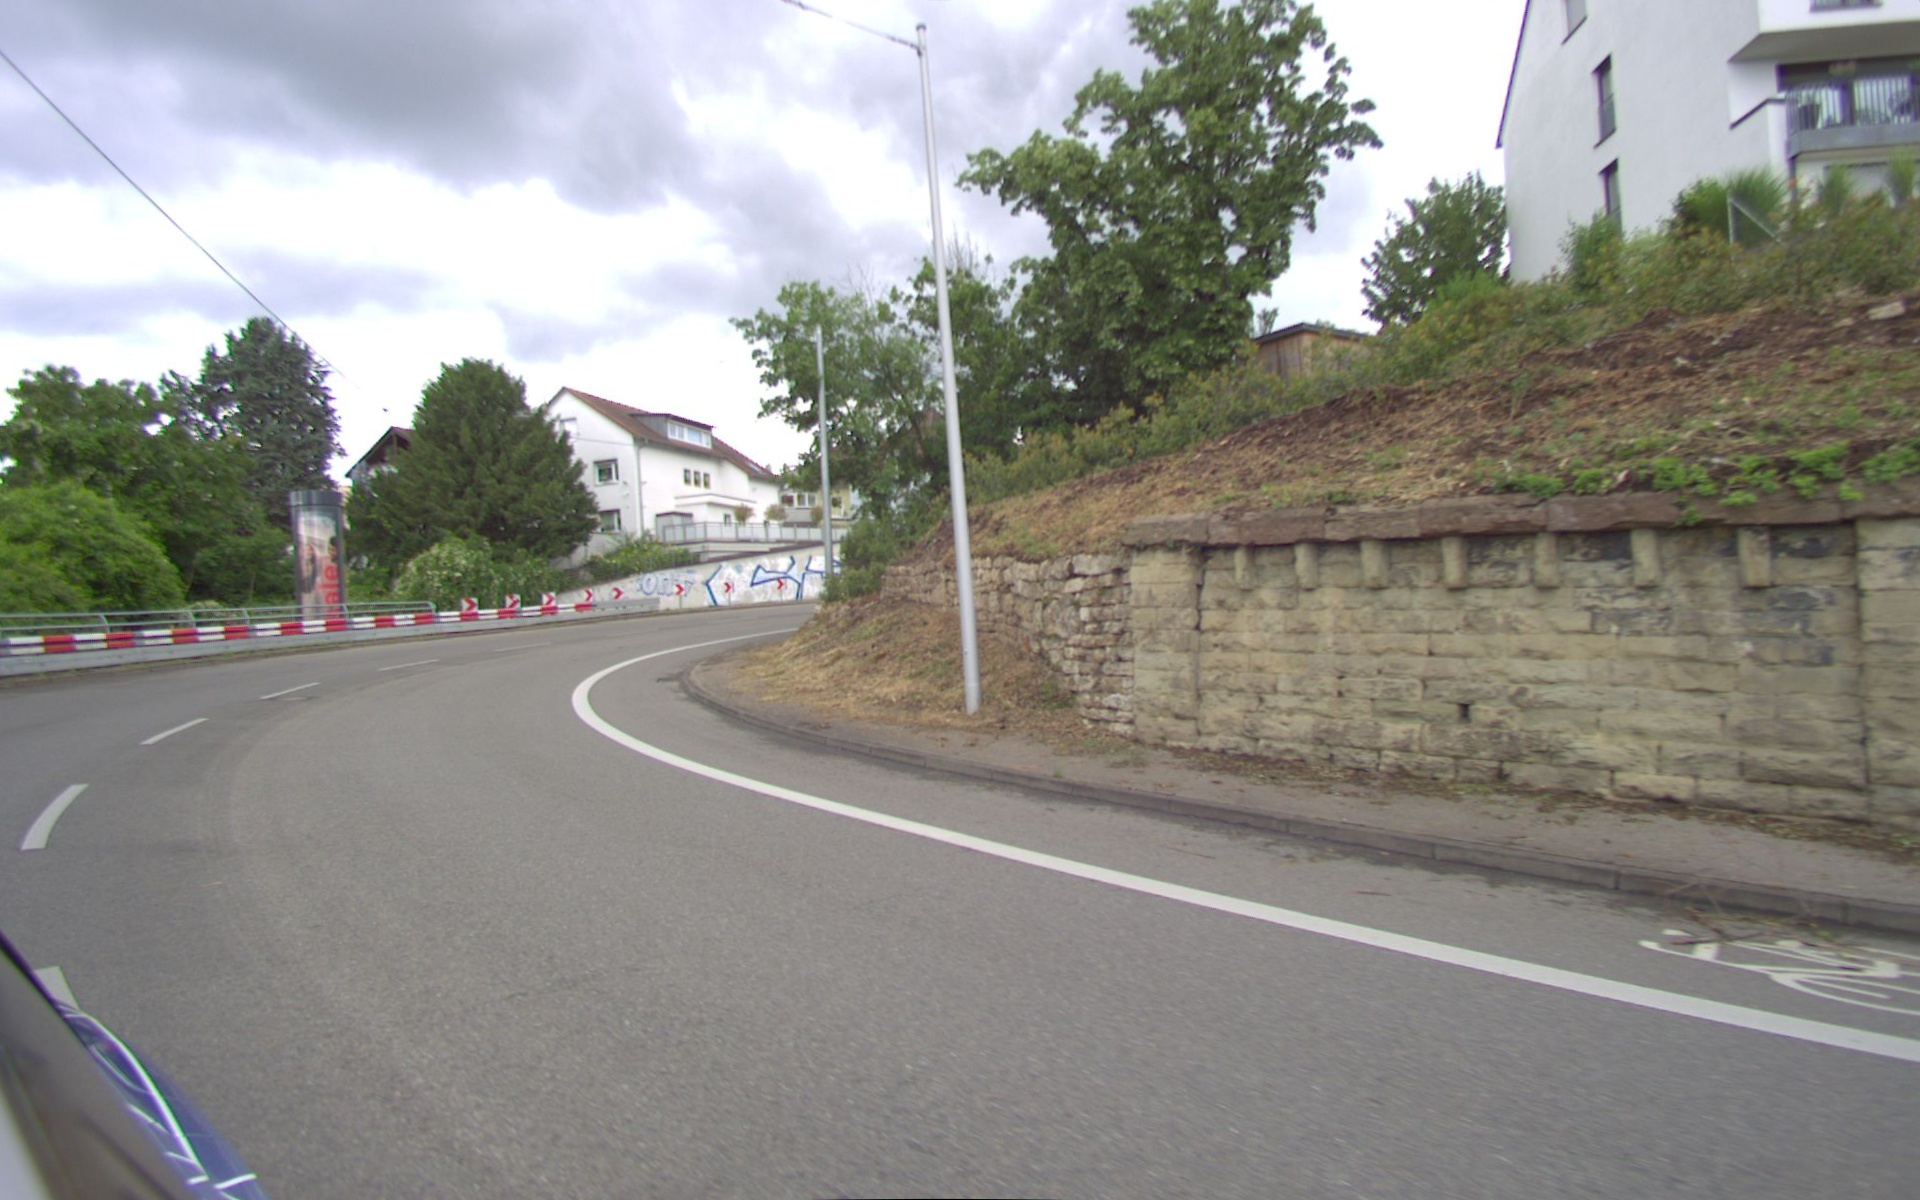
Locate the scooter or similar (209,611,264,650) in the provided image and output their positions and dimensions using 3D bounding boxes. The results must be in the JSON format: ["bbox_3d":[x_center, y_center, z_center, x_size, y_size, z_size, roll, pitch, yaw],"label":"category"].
[{"bbox_3d":[-25.497,1.062,35.670,1.476,1.259,0.438,-3,0,-16],"label":"scooter or similar"}]
